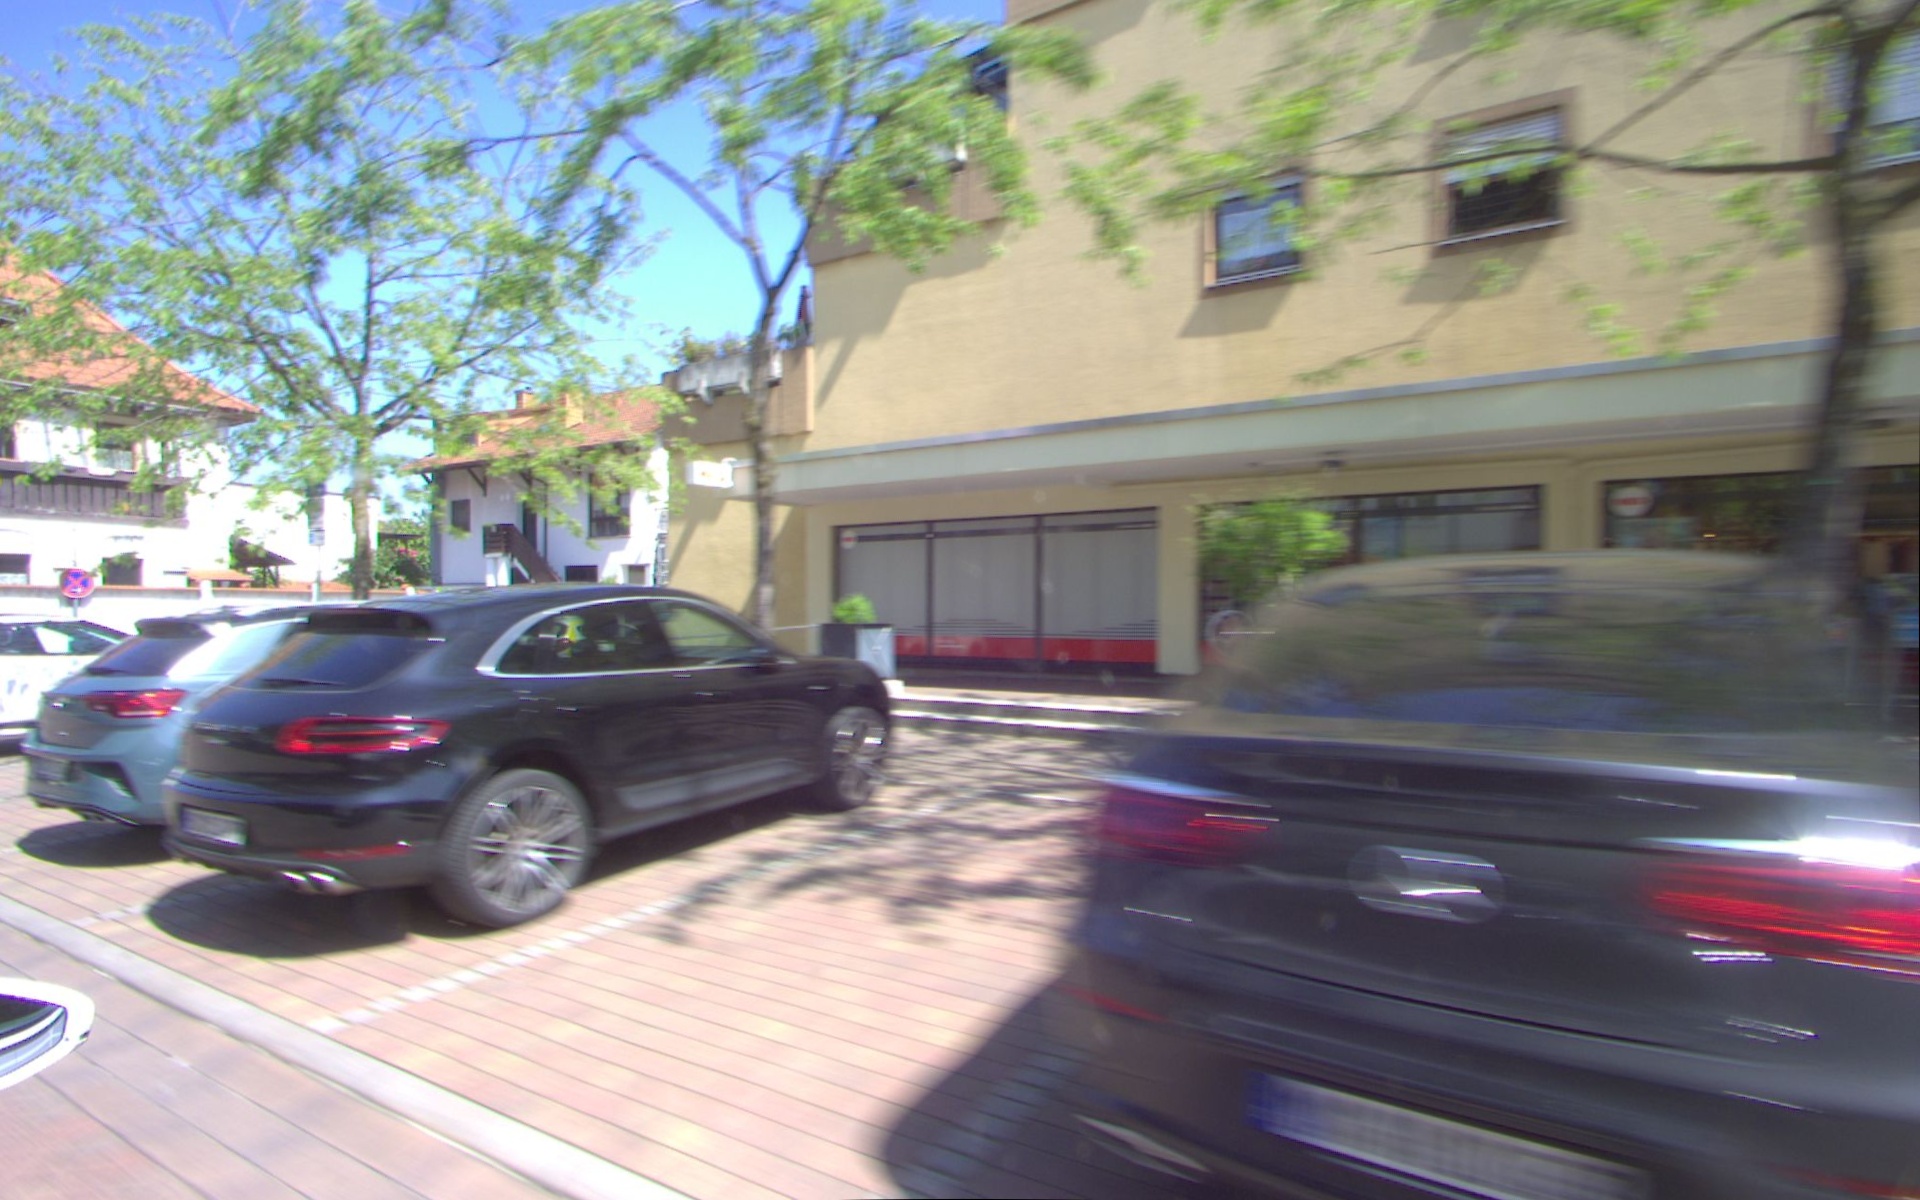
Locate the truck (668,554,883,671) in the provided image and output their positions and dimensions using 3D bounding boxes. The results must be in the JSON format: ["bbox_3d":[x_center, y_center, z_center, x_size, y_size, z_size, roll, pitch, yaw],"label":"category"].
[{"bbox_3d":[-5.205,0.372,29.403,2.509,3.045,6.370,0,0,33],"label":"truck"}]

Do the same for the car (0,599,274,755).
[{"bbox_3d":[-10.707,0.833,11.403,1.761,1.597,4.433,0,1,29],"label":"car"}]

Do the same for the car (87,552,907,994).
[{"bbox_3d":[-2.295,0.658,6.204,1.970,1.703,4.273,0,0,29],"label":"car"}]

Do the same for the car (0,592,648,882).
[{"bbox_3d":[-4.581,0.759,7.739,1.797,1.555,3.935,0,1,31],"label":"car"}]

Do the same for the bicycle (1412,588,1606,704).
[{"bbox_3d":[5.732,0.473,10.515,1.750,1.138,0.411,-1,-1,35],"label":"bicycle"}]

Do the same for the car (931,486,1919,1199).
[{"bbox_3d":[1.952,0.635,3.441,1.825,1.610,4.495,0,1,34],"label":"car"}]
